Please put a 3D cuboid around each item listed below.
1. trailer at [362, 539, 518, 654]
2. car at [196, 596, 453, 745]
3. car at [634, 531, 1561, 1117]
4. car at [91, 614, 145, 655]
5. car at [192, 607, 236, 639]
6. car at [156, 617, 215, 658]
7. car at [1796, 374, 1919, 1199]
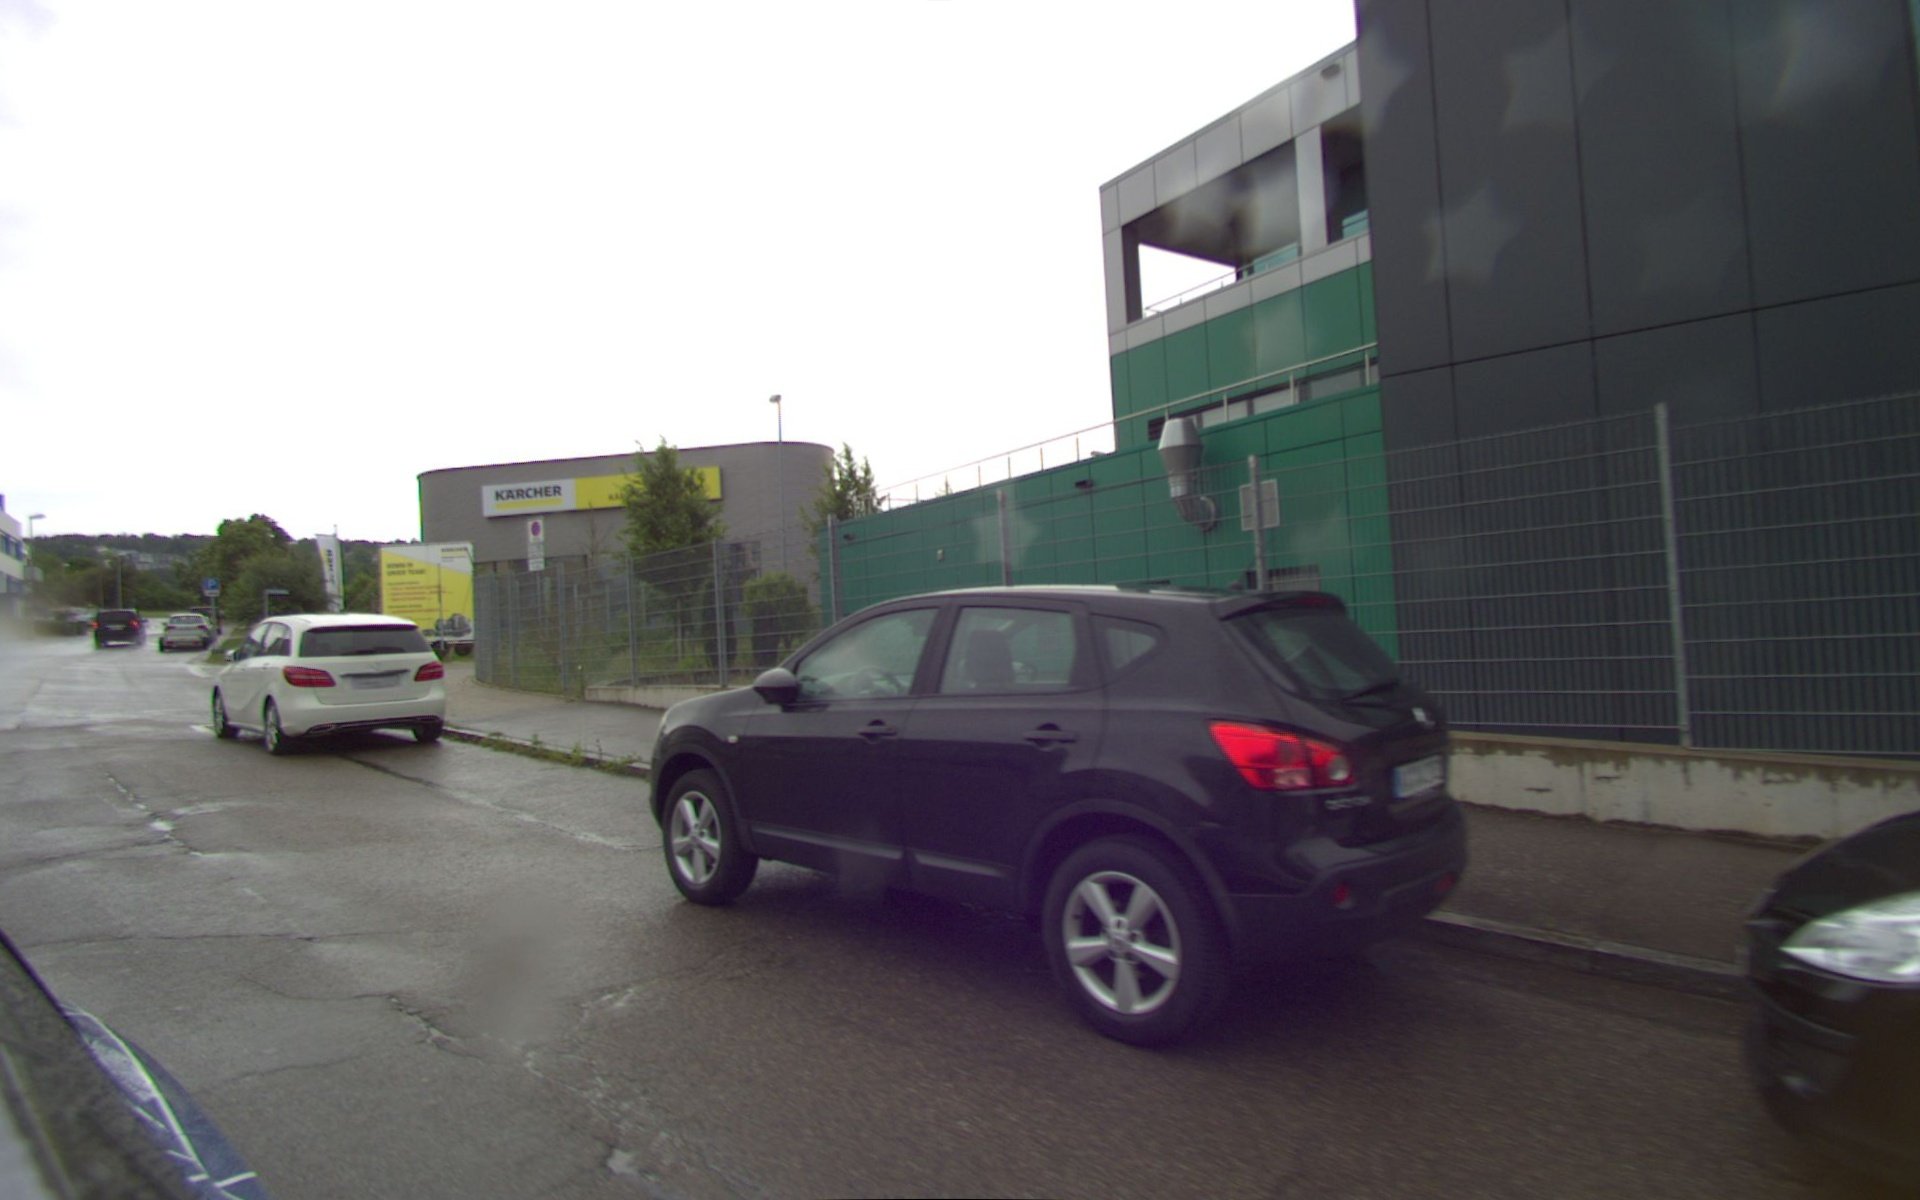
[{"bbox_3d":[-19.411,-0.107,37.924,4.636,4.120,2.387,-1,-1,2],"label":"trailer"},{"bbox_3d":[-8.070,0.773,12.676,4.250,1.547,1.716,-2,0,43],"label":"car"},{"bbox_3d":[0.274,0.653,4.709,4.083,1.570,1.615,-2,-2,42],"label":"car"},{"bbox_3d":[-44.814,1.861,53.815,2.037,2.029,4.517,3,-5,-41],"label":"car"},{"bbox_3d":[-49.797,1.552,67.655,1.966,2.029,4.012,0,-1,-31],"label":"car"},{"bbox_3d":[-38.141,1.837,49.799,1.969,1.928,4.005,1,-2,-42],"label":"car"},{"bbox_3d":[3.835,0.419,1.499,3.956,1.811,1.721,-1,-1,41],"label":"car"}]
